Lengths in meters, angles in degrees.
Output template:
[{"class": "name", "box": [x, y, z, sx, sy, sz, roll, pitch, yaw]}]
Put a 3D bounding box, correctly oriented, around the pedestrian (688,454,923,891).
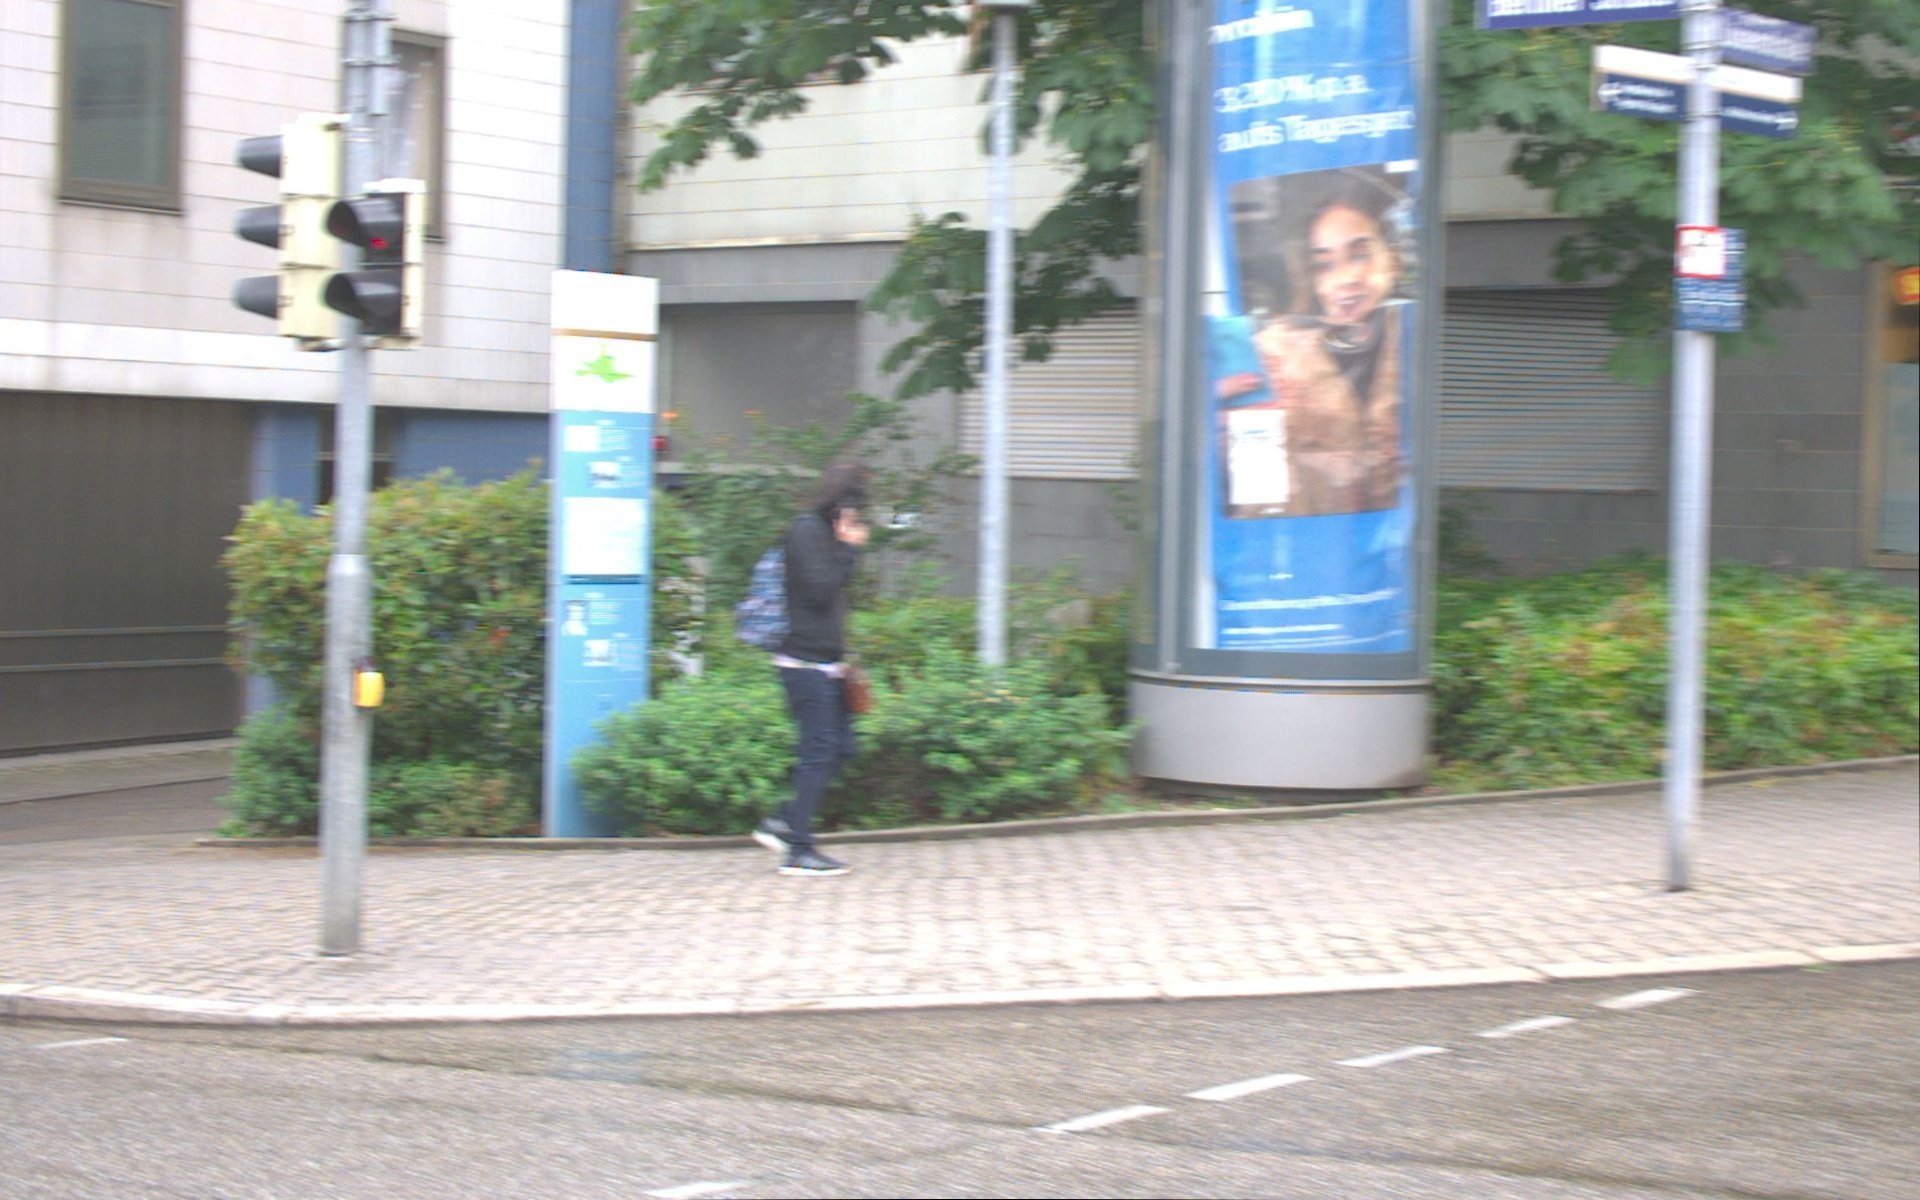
[{"class": "pedestrian", "box": [-0.677, 0.282, 14.872, 0.752, 1.811, 0.918, -2, 3, -20]}]
